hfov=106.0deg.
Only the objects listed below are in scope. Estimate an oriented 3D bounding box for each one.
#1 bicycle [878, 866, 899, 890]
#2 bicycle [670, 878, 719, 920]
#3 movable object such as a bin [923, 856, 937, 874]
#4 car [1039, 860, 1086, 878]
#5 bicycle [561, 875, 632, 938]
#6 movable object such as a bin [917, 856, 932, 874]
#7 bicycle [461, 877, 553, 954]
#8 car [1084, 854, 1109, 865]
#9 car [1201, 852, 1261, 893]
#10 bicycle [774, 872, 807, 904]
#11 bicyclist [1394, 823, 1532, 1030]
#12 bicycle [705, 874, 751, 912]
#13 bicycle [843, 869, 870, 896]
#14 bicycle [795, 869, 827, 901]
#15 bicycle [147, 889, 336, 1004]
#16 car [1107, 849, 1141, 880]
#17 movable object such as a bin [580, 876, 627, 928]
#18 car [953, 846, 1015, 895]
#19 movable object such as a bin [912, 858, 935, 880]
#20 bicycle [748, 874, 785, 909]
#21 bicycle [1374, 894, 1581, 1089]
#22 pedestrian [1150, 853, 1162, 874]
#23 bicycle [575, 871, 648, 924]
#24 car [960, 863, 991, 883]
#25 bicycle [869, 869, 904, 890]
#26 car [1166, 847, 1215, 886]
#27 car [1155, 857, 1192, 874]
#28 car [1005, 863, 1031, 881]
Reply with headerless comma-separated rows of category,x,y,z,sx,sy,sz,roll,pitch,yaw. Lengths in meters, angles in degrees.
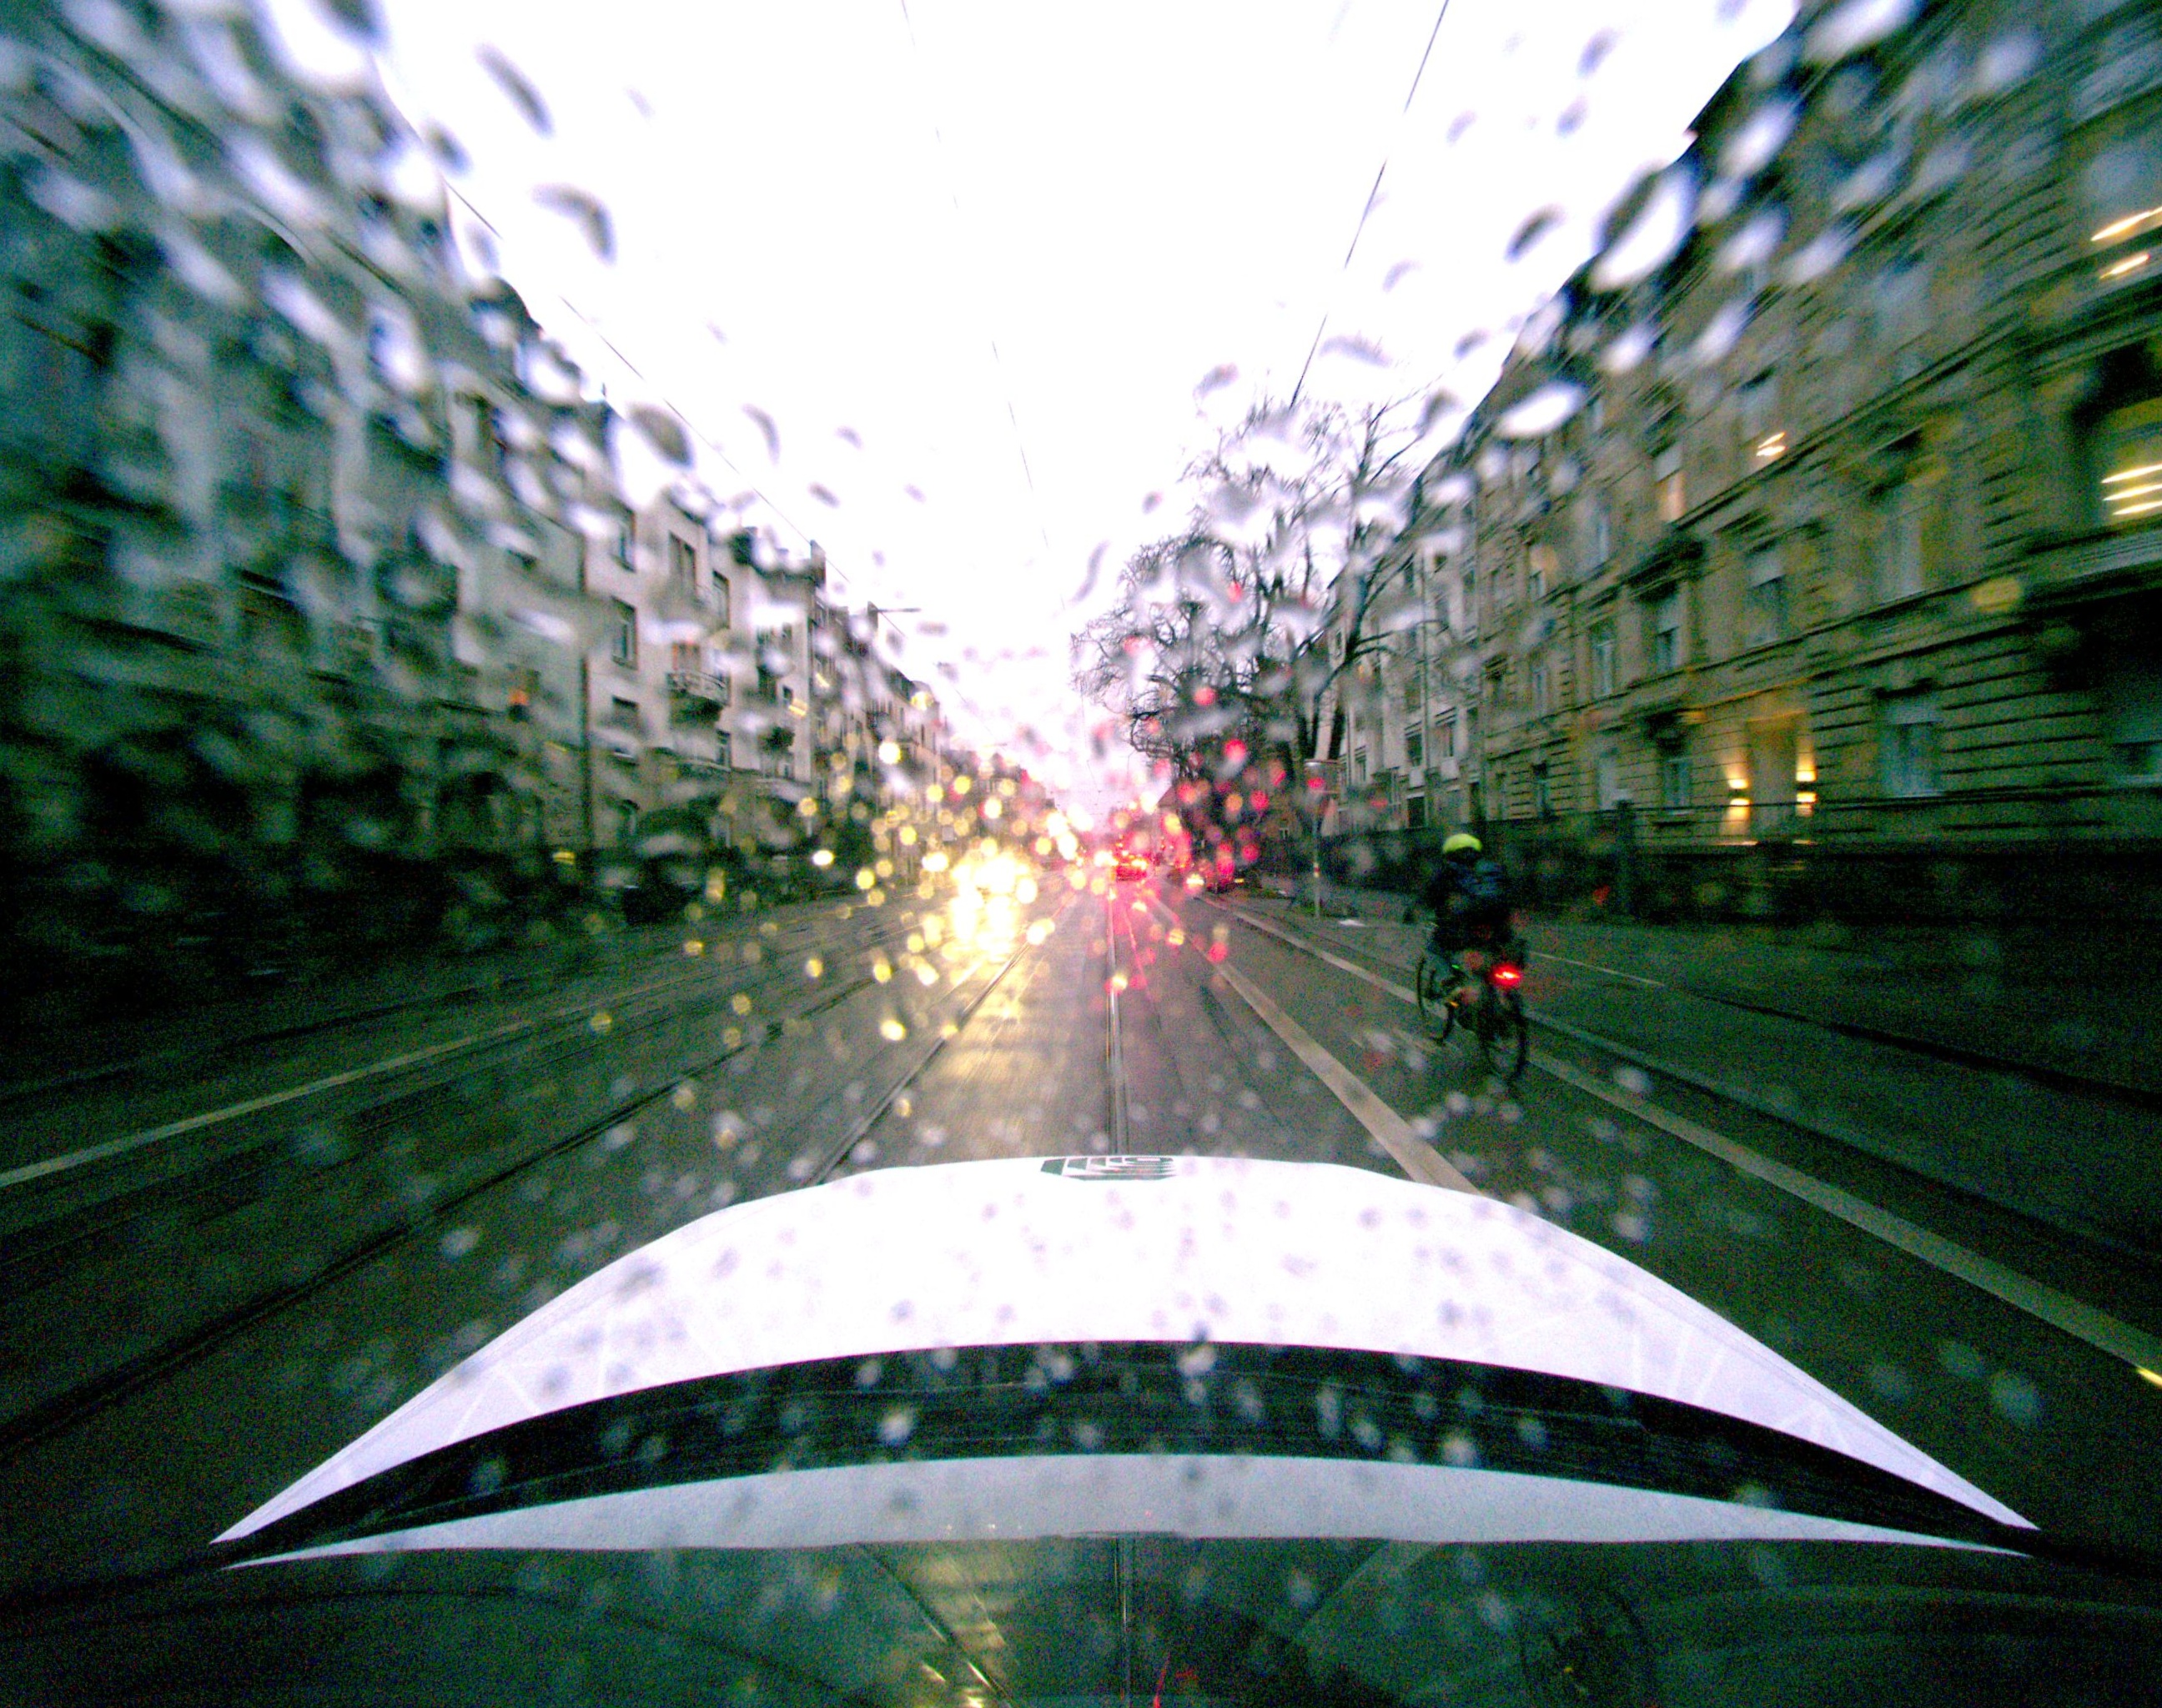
bicycle,-9.513,1.172,40.290,0.613,1.080,1.809,-2,0,-3
bicycle,-10.201,1.208,21.548,0.691,1.031,1.590,-2,-4,-7
movable object such as a bin,-13.967,0.996,75.314,1.009,1.600,1.082,-2,0,4
car,-1.970,1.642,89.328,4.922,1.717,1.700,-2,0,5
bicycle,-10.404,1.099,17.537,0.691,1.212,1.592,-2,0,-7
movable object such as a bin,-14.037,0.983,72.863,1.009,1.600,1.082,-2,0,4
bicycle,-10.273,1.066,14.639,0.629,1.212,1.592,-2,0,-7
car,2.594,0.958,138.764,3.983,1.717,1.899,-2,0,-7
car,5.921,0.697,32.523,1.671,1.460,4.043,-2,0,1
bicycle,-9.991,1.144,28.042,0.691,1.031,1.592,-2,-1,-7
bicyclist,2.858,0.512,6.175,0.653,1.446,0.850,-2,0,5
bicycle,-10.158,1.145,23.470,0.690,1.031,1.594,-2,-4,-3
bicycle,-9.636,1.211,34.989,0.623,1.017,1.805,-3,0,0
bicycle,-9.909,1.115,29.936,0.484,1.099,1.931,-3,0,1
bicycle,-10.340,1.089,10.122,0.690,1.212,1.594,-2,0,-3
car,2.689,0.666,51.777,1.986,1.897,4.759,0,-1,1
movable object such as a bin,-10.997,1.089,18.764,0.694,1.137,0.739,-2,0,-13
car,-4.200,0.665,36.163,2.039,1.922,5.100,-2,1,0
movable object such as a bin,-11.947,1.124,61.815,1.404,1.530,1.365,-2,0,1
bicycle,-10.035,1.184,26.018,0.691,1.031,1.592,-2,-2,-7
bicycle,2.884,0.927,6.197,0.704,1.096,2.032,-2,0,5
pedestrian,7.464,0.964,81.453,1.019,2.013,0.919,-2,0,-2
bicycle,-11.975,1.122,20.786,1.582,1.264,0.490,-3,-5,5
car,-8.745,1.583,67.647,1.826,1.447,4.002,-2,1,2
bicycle,-11.066,1.431,46.356,1.802,1.080,0.615,-2,0,-5
car,5.861,0.602,44.124,1.986,1.900,5.028,-2,1,1
car,10.246,1.291,90.578,3.970,1.728,1.741,-2,0,3
car,-4.728,1.364,61.617,1.655,1.198,3.874,-2,1,0
